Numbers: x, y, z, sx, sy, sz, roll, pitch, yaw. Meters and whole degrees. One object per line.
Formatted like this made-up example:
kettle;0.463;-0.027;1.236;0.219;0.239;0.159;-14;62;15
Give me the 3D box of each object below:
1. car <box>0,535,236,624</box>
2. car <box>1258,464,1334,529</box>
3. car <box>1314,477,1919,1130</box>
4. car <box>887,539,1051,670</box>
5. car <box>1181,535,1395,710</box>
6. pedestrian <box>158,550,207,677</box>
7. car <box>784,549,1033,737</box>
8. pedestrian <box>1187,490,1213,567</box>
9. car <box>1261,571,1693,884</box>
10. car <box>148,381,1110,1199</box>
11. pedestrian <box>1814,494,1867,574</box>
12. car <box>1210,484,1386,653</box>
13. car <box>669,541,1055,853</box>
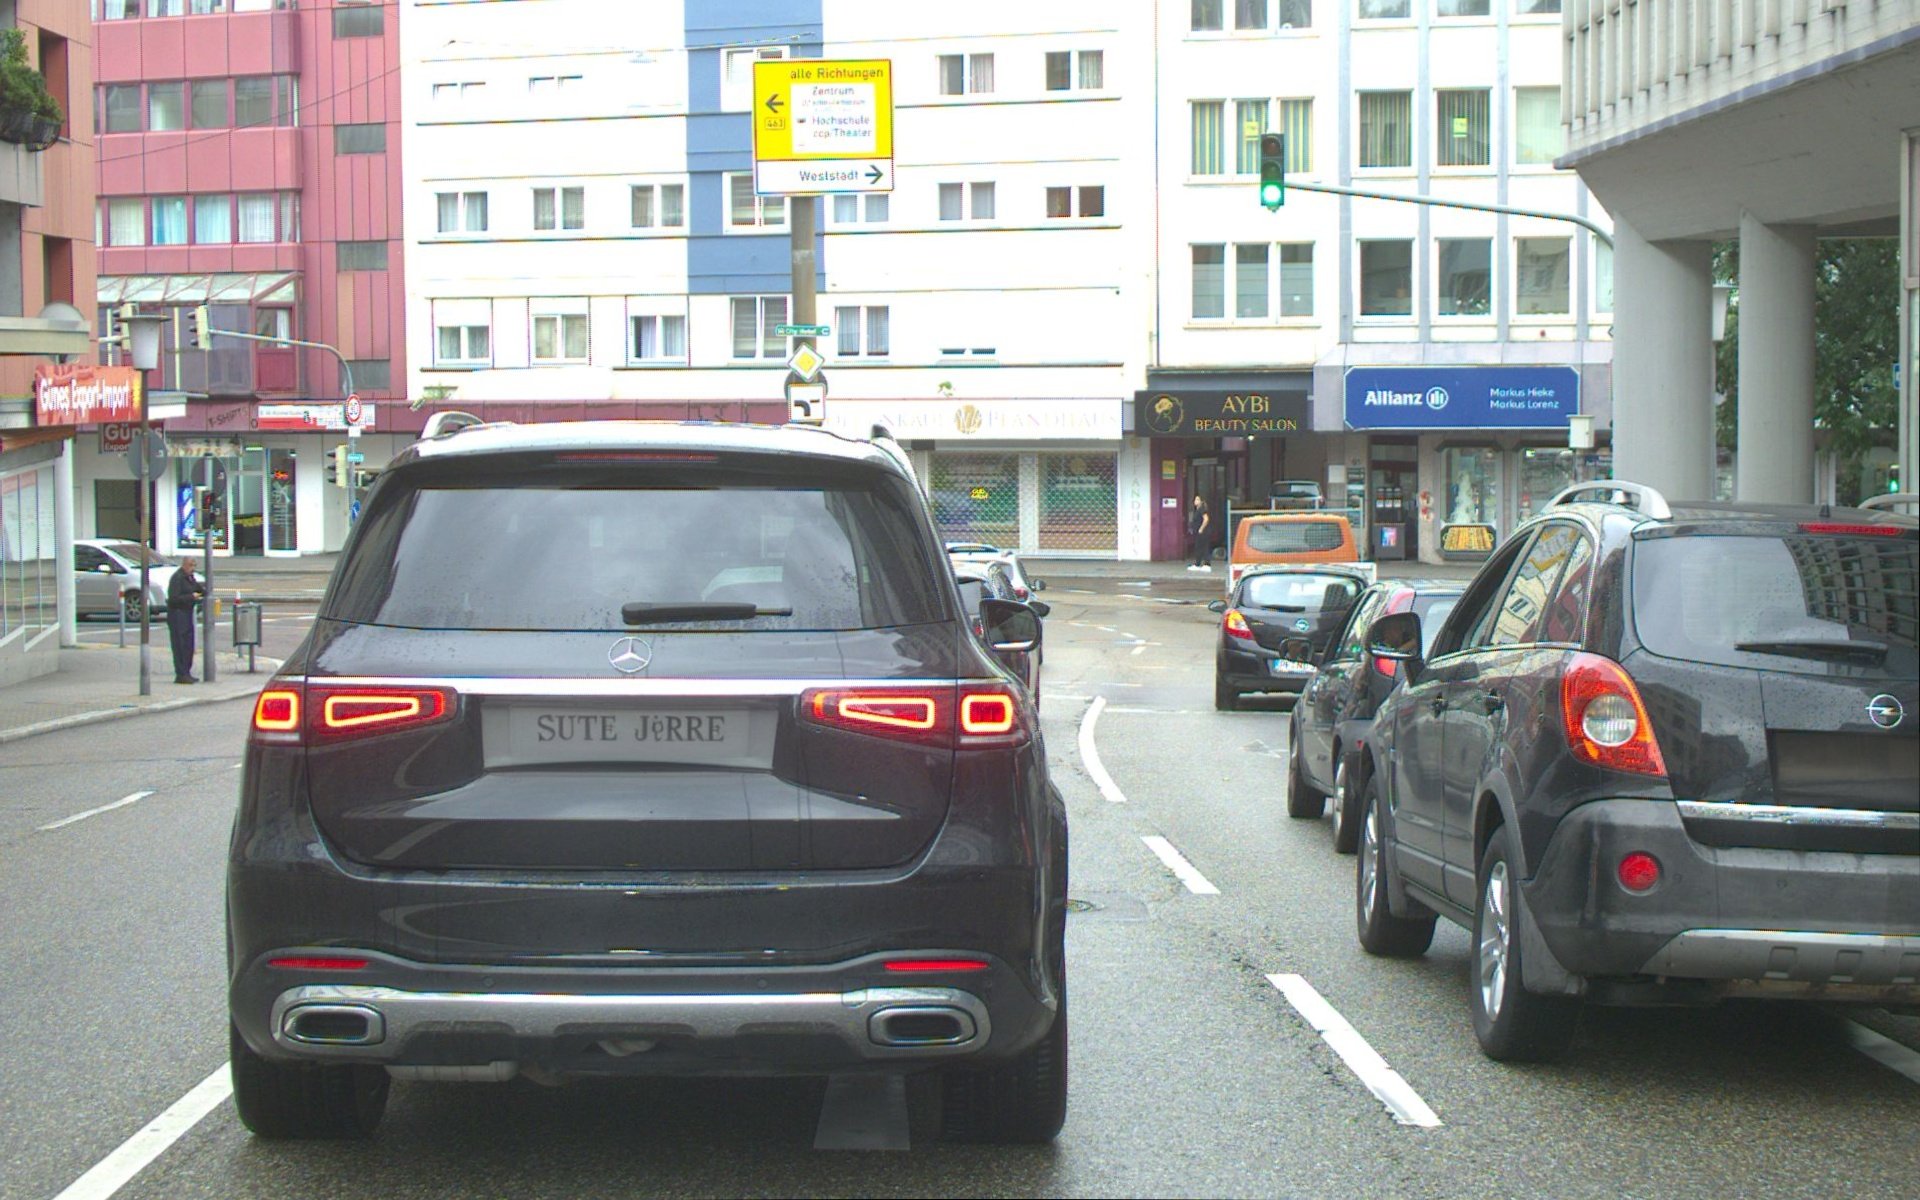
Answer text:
car;-16.370;-0.418;66.737;4.165;1.587;1.740;2;1;15
car;8.942;-2.741;91.291;1.797;1.664;3.999;-1;1;8
car;2.453;0.523;11.393;1.897;1.689;4.506;3;1;-2
car;0.083;0.075;43.666;1.924;1.510;4.663;2;0;-1
car;3.308;0.209;35.441;1.823;1.653;4.495;1;0;1
pedestrian;-10.464;0.175;46.278;0.554;1.691;0.624;0;1;-4
car;-0.434;0.318;29.887;1.993;1.481;4.237;-1;1;0
pedestrian;5.525;-1.643;79.062;0.564;1.683;0.756;0;7;6
car;2.705;0.606;18.827;1.767;1.392;4.000;3;1;1
car;-0.797;0.400;9.734;2.038;1.793;4.663;1;1;-2
pedestrian;19.370;-1.457;75.616;1.030;1.683;0.830;0;7;8
car;4.754;-0.457;49.073;2.243;2.220;5.428;1;1;3
car;-0.562;0.441;19.078;1.873;1.489;4.401;1;1;-2
